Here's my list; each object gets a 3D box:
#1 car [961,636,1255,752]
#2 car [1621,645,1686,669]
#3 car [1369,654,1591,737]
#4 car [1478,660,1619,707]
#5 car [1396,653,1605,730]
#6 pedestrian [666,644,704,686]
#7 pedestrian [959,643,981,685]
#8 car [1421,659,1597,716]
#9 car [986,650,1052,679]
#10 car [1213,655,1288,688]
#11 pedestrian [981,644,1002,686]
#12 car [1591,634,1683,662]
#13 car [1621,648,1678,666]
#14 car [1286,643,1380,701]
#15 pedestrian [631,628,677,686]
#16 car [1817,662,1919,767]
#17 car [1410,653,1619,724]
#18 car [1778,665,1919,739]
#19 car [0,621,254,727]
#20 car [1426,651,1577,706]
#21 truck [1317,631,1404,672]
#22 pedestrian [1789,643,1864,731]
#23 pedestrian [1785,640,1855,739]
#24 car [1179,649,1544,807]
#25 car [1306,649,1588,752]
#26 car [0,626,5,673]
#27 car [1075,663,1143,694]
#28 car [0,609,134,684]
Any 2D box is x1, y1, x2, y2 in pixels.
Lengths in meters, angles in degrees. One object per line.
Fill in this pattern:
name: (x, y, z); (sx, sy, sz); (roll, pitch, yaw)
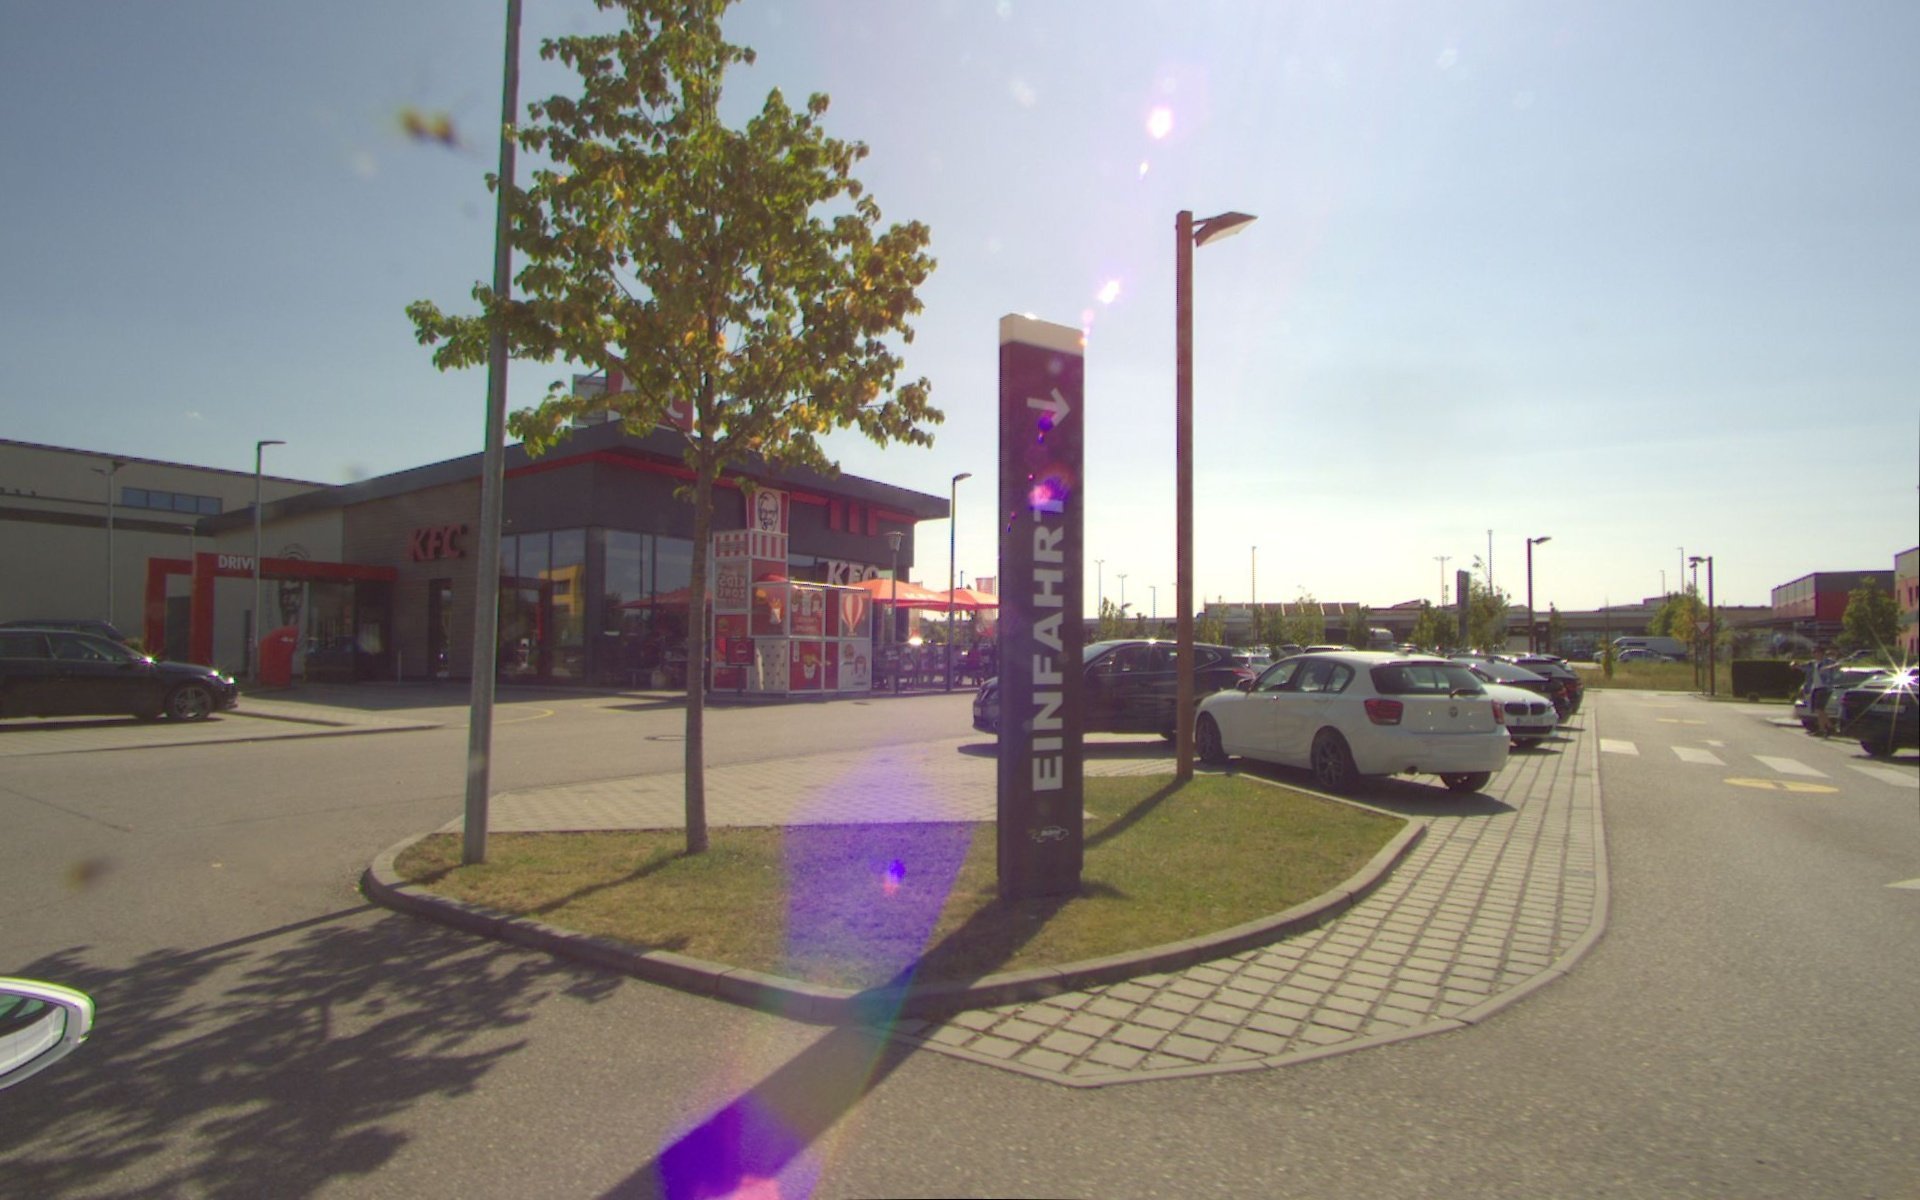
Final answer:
car: (2.161, 1.381, 15.058); (4.010, 1.596, 1.757); (1, -2, -11)
car: (54.177, 4.440, 78.322); (3.939, 1.749, 1.887); (0, -3, 29)
car: (10.024, 1.808, 19.690); (1.787, 1.420, 3.999); (1, -3, -11)
car: (20.329, 2.857, 34.804); (1.767, 1.440, 4.079); (2, -3, -19)
car: (11.970, 1.983, 22.486); (1.790, 1.507, 3.992); (2, -3, -19)
pedestrian: (-7.216, 1.699, 26.255); (0.619, 1.085, 0.715); (0, -2, 30)
pedestrian: (0.325, 1.997, 31.186); (0.584, 1.285, 0.686); (1, -2, 7)
car: (15.488, 2.436, 28.584); (1.681, 1.428, 4.679); (2, -3, -14)
car: (3.198, 3.435, 53.840); (1.668, 1.472, 3.728); (-1, -3, 40)
car: (13.274, 3.228, 45.610); (1.865, 1.415, 4.128); (-1, -3, 38)
pedestrian: (0.981, 2.026, 31.179); (0.584, 1.285, 0.686); (1, -2, 7)
car: (58.543, 4.132, 86.742); (6.479, 2.272, 2.290); (-1, -3, 33)
car: (57.714, 4.771, 83.853); (3.853, 1.359, 1.657); (-1, -3, 33)
car: (12.544, 2.375, 33.537); (2.044, 1.771, 4.345); (-1, -3, 34)
pedestrian: (-7.776, 1.437, 25.478); (0.761, 1.453, 0.797); (0, -2, 30)
car: (16.346, 1.796, 15.839); (4.335, 1.530, 1.983); (2, -2, -11)
car: (13.586, 2.118, 24.832); (1.751, 1.530, 4.337); (2, -3, -25)
car: (19.885, 2.164, 21.341); (3.830, 1.444, 1.706); (2, -2, -10)
car: (-13.420, 1.079, 15.112); (1.674, 1.459, 4.196); (0, -3, 32)
car: (17.126, 2.444, 31.860); (1.777, 1.575, 4.045); (2, -3, -22)
truck: (34.705, 4.419, 87.097); (2.384, 3.394, 7.542); (2, -2, -23)
pedestrian: (19.709, 1.968, 22.794); (0.900, 1.940, 0.903); (1, -2, -1)
pedestrian: (17.444, 1.791, 20.309); (1.018, 1.940, 0.894); (-1, -3, 45)
car: (4.319, 1.317, 11.587); (1.811, 1.443, 4.183); (2, -3, -14)
car: (8.090, 1.612, 17.182); (1.880, 1.490, 4.467); (2, -3, -16)
car: (-30.538, 1.398, 28.898); (1.626, 1.438, 3.985); (0, -3, 29)
car: (7.573, 3.934, 50.703); (1.668, 1.472, 3.728); (-1, -3, 40)
car: (-22.432, 1.092, 23.509); (1.616, 1.706, 4.370); (0, -3, 28)
